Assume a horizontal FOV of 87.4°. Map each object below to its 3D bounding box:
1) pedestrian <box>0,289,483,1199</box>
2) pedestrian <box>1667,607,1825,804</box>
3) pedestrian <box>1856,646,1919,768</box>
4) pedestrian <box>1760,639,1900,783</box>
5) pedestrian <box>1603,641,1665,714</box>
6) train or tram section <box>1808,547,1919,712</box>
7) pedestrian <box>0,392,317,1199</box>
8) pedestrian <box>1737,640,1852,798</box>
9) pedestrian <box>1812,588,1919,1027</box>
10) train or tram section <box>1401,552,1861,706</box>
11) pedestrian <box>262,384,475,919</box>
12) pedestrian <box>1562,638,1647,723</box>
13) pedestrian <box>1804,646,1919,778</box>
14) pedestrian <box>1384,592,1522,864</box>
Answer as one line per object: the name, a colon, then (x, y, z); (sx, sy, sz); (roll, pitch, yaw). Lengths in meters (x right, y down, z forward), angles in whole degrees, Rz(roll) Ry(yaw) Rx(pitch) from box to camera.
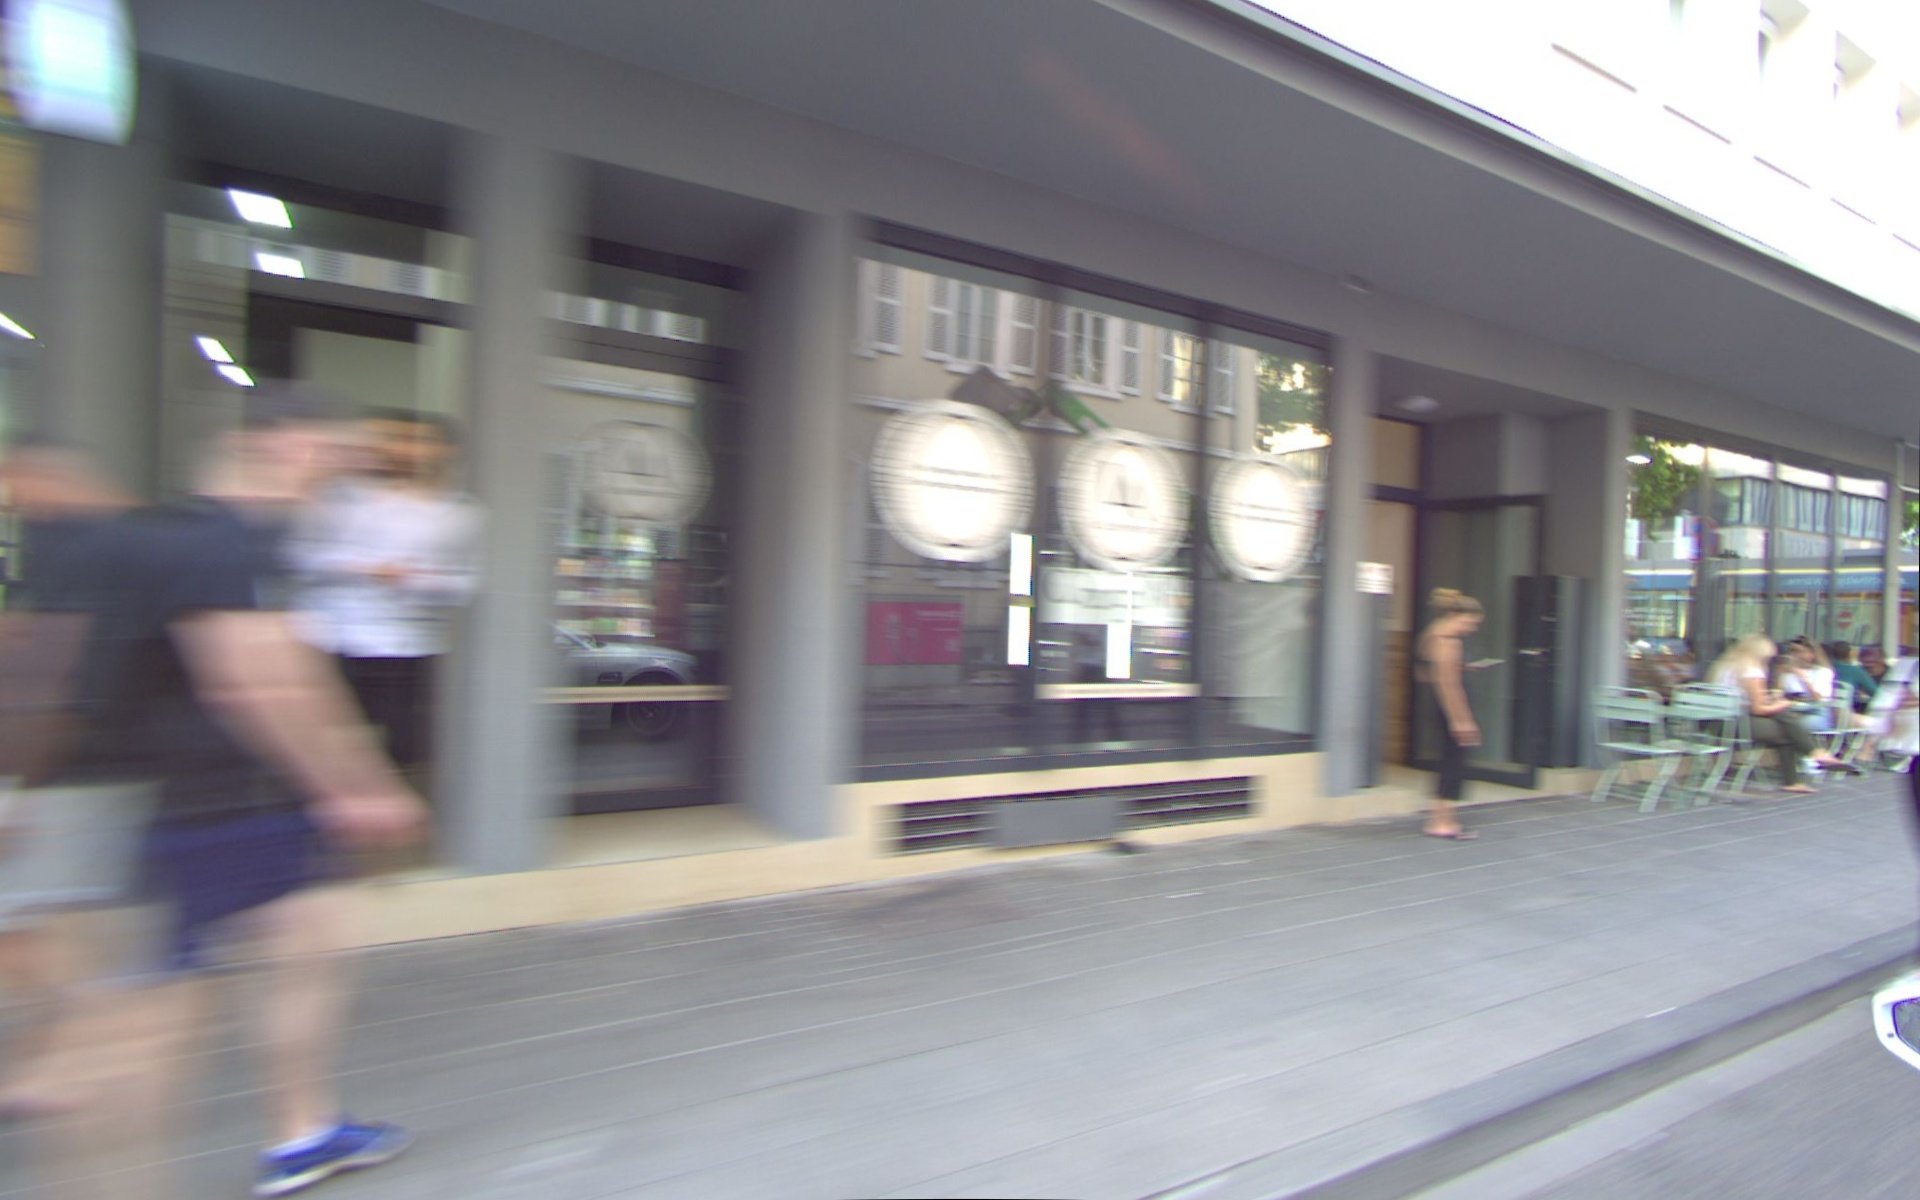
pedestrian: (-1.539, 0.424, 2.054); (0.922, 1.834, 0.711); (2, -1, -30)
pedestrian: (6.684, 0.867, 8.556); (0.848, 1.568, 0.702); (2, 0, -23)
pedestrian: (10.288, 1.138, 10.702); (0.825, 1.235, 0.707); (2, 0, 7)
pedestrian: (8.398, 1.049, 9.707); (0.768, 1.256, 0.701); (2, 3, -27)
pedestrian: (13.521, 1.549, 20.155); (0.687, 1.395, 0.787); (3, -2, -28)
train or tram section: (23.627, 0.706, 19.678); (2.982, 3.570, 10.318); (3, -2, -30)
pedestrian: (-2.182, 0.459, 2.475); (0.922, 1.805, 0.700); (2, 0, -31)
pedestrian: (7.504, 1.030, 9.073); (0.695, 1.303, 0.858); (2, 0, 36)
pedestrian: (4.238, 0.845, 4.198); (0.774, 1.762, 0.755); (2, -3, -24)
train or tram section: (18.380, 0.751, 28.823); (2.978, 3.570, 10.758); (3, -1, -30)
pedestrian: (-2.238, 0.184, 3.838); (0.606, 1.834, 0.541); (2, -2, -31)
pedestrian: (10.702, 1.324, 16.682); (0.839, 1.337, 0.876); (3, -2, -26)
pedestrian: (9.145, 1.104, 10.121); (0.682, 1.211, 0.701); (2, 2, -27)
pedestrian: (3.141, 0.763, 6.396); (0.647, 1.590, 0.636); (3, 1, 34)
